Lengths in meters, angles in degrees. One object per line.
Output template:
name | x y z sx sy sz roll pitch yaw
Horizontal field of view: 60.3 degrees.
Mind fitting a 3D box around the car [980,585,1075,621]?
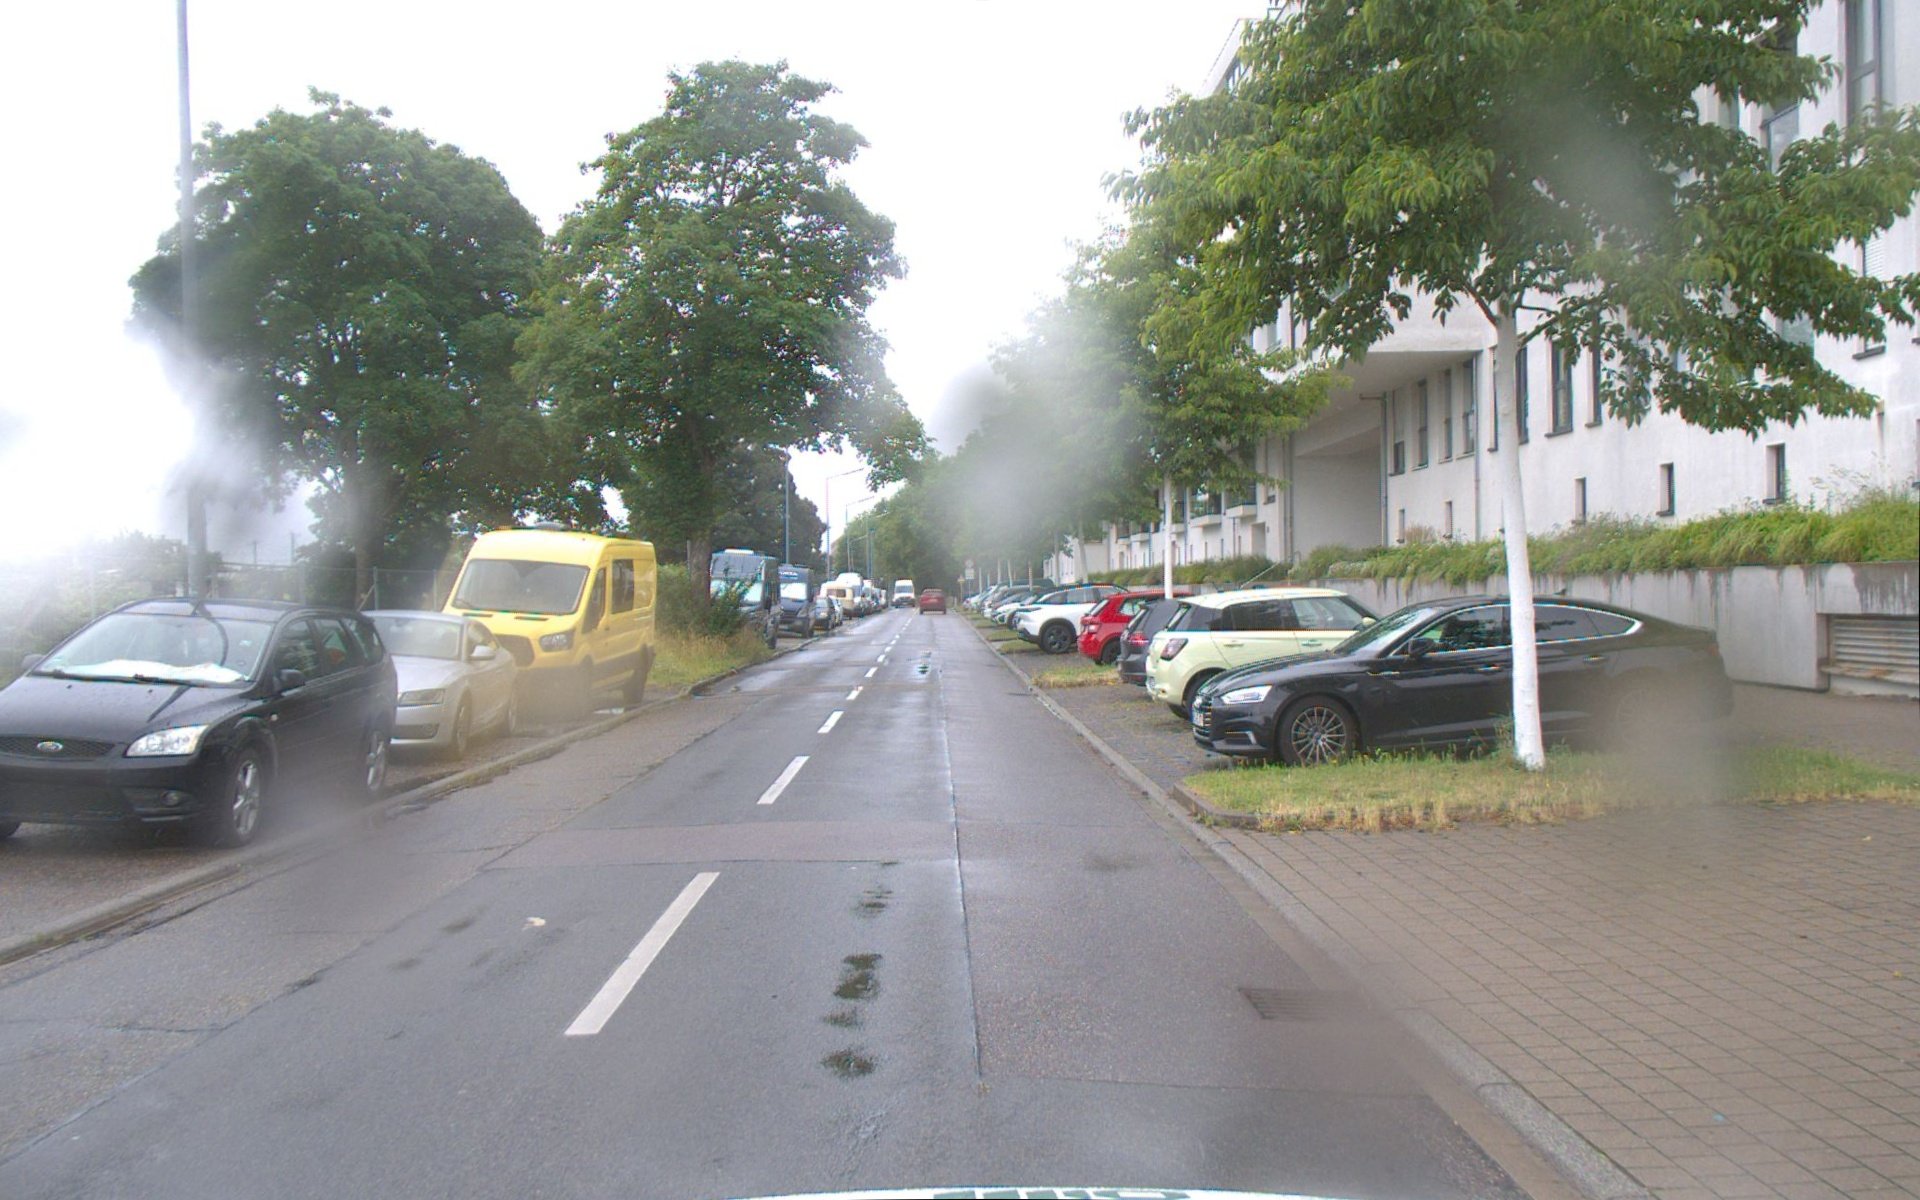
car | 3.079 0.115 76.225 4.214 1.453 1.636 -3 0 -3

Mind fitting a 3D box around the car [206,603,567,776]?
car | -5.685 0.798 17.242 1.970 1.459 5.338 2 0 -2

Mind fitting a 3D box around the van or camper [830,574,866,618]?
van or camper | -7.495 -0.250 110.942 1.953 2.810 7.897 1 0 -1

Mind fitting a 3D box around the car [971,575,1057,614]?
car | 2.967 -0.291 91.177 4.528 2.055 1.856 -1 0 -6

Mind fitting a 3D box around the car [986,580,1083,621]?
car | 3.306 0.021 73.829 4.080 1.652 1.896 -3 0 -4

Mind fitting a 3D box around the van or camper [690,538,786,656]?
van or camper | -6.370 -0.070 48.116 2.052 3.148 6.421 2 0 -2

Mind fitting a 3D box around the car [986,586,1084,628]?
car | 3.084 0.283 68.638 3.907 1.536 1.684 -3 1 -2

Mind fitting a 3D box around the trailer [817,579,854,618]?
trailer | -7.356 -0.104 98.214 2.017 2.256 5.792 1 0 -3

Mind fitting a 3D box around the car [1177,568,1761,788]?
car | 4.309 0.633 14.476 4.479 1.523 1.825 -3 0 -2

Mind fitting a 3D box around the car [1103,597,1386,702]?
car | 4.158 0.707 24.497 3.878 1.500 1.591 0 0 -4

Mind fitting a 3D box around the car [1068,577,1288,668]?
car | 4.158 0.435 31.954 3.907 1.477 1.820 -3 -1 -2

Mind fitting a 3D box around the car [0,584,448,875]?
car | -5.391 0.739 11.914 1.953 1.622 5.015 2 0 -2

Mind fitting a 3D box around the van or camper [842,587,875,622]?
van or camper | -7.610 0.313 124.573 2.145 2.505 6.376 1 0 -1

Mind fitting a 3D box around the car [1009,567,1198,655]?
car | 3.615 0.271 42.128 4.451 1.714 1.884 -6 0 -4

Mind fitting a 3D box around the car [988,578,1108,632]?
car | 3.370 0.169 63.840 4.387 1.716 1.935 -4 1 -3

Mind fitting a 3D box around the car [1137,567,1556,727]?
car | 4.391 0.517 19.213 4.397 1.507 1.691 -3 0 -2

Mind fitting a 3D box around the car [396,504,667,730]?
car | -5.859 0.206 23.563 2.146 2.741 6.082 2 0 1

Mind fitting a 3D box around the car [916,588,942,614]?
car | -2.092 0.060 111.396 1.720 1.735 3.999 -1 0 -1

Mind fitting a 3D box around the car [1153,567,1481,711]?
car | 4.642 0.488 21.867 3.906 1.582 1.634 -4 0 -1

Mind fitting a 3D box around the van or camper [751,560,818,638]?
van or camper | -6.679 -0.007 63.745 2.052 2.763 7.570 2 0 -3

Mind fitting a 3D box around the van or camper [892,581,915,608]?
van or camper | -5.524 -0.529 162.657 1.953 2.541 7.177 -2 0 0

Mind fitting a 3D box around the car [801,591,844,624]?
car | -6.843 0.355 82.542 1.849 1.552 5.108 2 0 -2

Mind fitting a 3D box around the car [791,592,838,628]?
car | -6.608 0.431 75.515 1.738 1.529 4.827 1 0 -1
